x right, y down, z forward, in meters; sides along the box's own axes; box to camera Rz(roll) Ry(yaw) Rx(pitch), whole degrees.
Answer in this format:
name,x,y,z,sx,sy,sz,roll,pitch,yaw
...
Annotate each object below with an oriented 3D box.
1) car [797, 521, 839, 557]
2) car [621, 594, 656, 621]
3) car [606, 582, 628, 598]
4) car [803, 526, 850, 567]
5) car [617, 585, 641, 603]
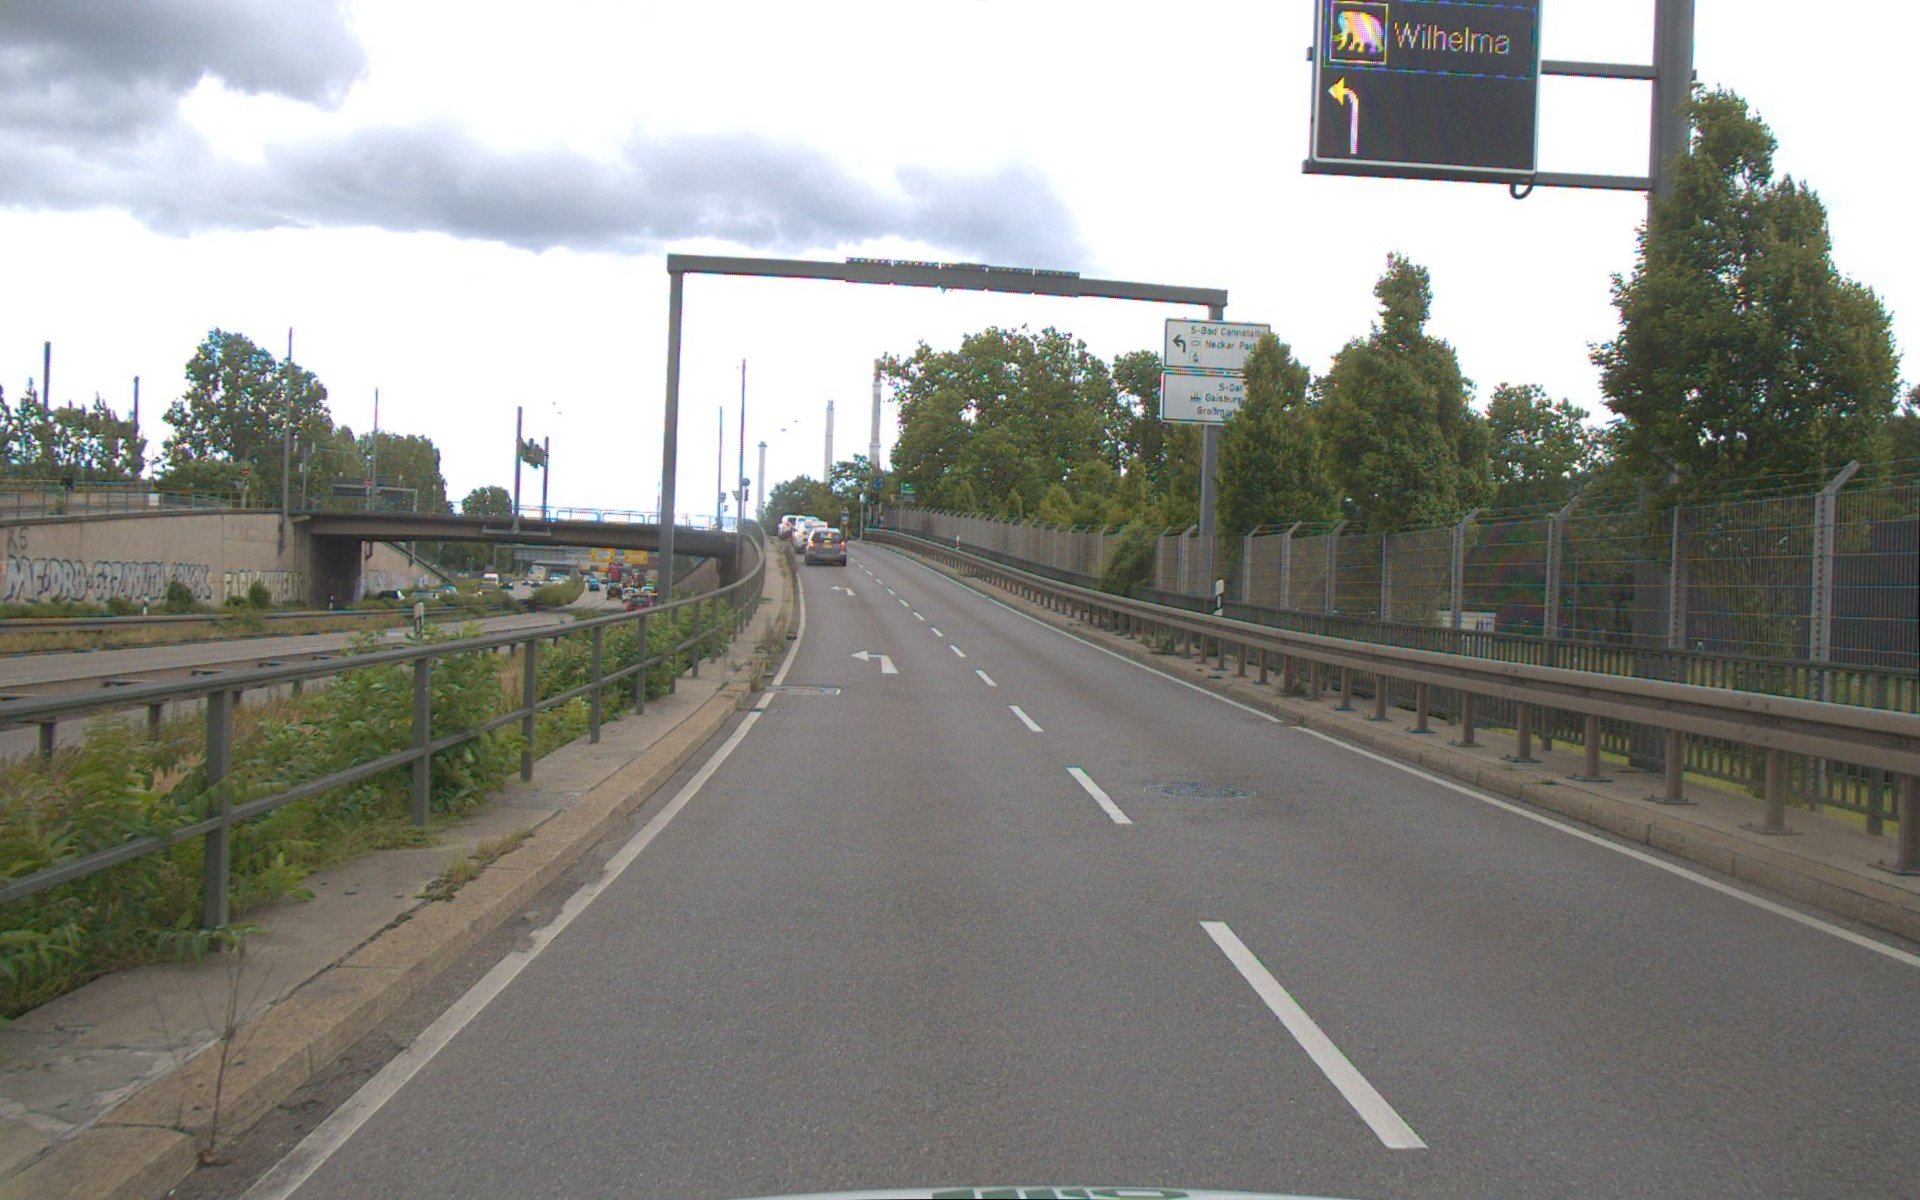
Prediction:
name,x,y,z,sx,sy,sz,roll,pitch,yaw
car,-7.240,-3.103,83.864,1.956,1.630,3.996,1,4,-7
car,-19.222,0.429,98.991,1.958,1.444,3.990,2,1,-11
car,-40.598,-1.184,195.845,1.954,1.713,3.997,2,1,-4
car,-5.811,-2.313,72.511,1.714,1.608,4.084,3,0,-1
car,-34.562,-0.590,172.697,1.954,1.713,3.997,2,1,-4
